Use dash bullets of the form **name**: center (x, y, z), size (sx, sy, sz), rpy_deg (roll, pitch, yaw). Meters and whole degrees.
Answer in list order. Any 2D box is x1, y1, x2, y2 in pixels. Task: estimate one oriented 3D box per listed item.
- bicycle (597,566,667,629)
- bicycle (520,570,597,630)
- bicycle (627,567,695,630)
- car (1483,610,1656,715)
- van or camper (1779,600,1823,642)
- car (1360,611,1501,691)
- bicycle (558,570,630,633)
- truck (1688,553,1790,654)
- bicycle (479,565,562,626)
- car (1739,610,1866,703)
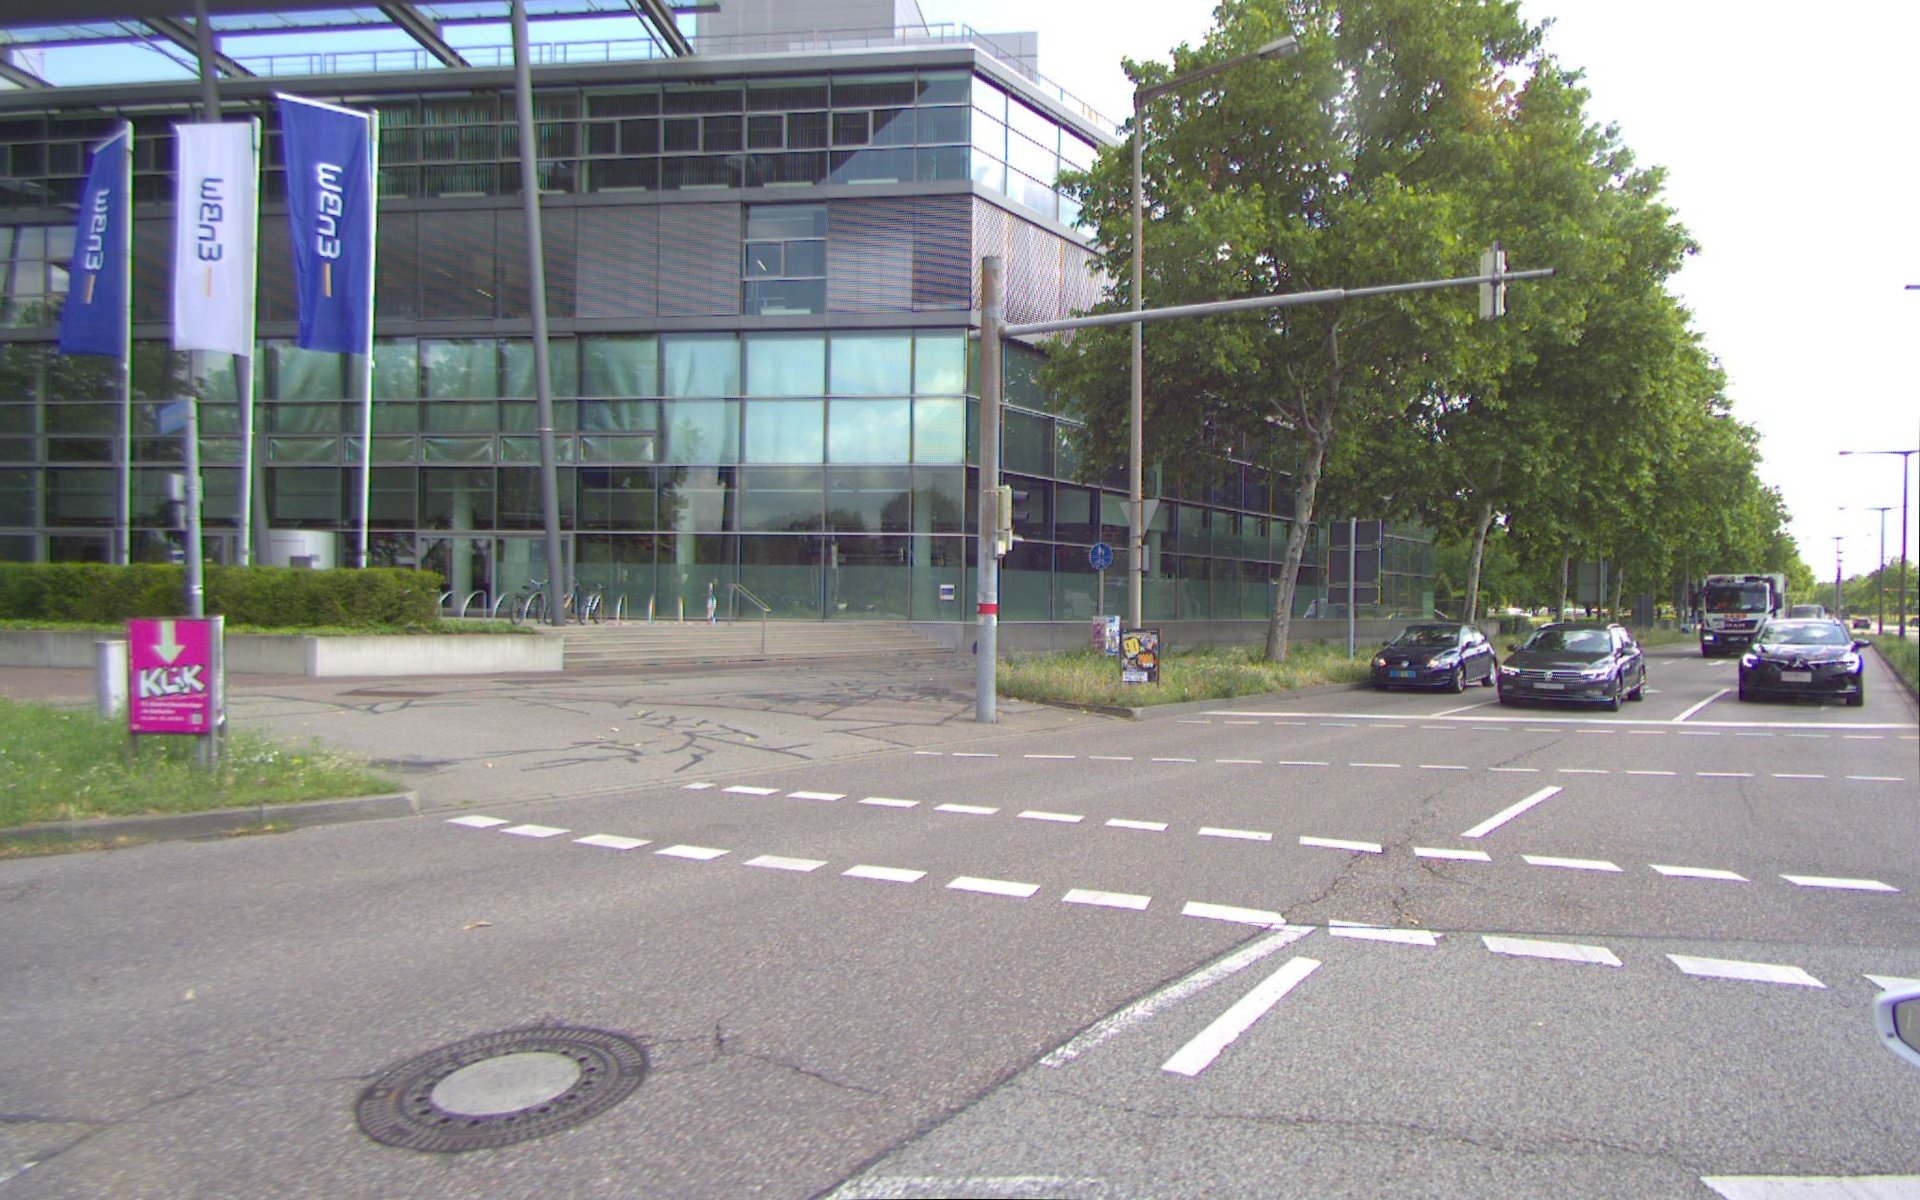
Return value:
- **bicycle**: center (-8.416, -0.038, 25.893), size (0.677, 1.459, 2.182), rpy_deg (1, -4, 11)
- **bicycle**: center (-10.317, 0.027, 25.924), size (0.727, 1.402, 2.142), rpy_deg (1, -4, 12)
- **bicycle**: center (-7.675, -0.004, 25.899), size (0.677, 1.459, 2.182), rpy_deg (1, -4, 11)
- **car**: center (11.358, 1.034, 18.584), size (1.845, 1.595, 4.541), rpy_deg (1, 1, 43)
- **van or camper**: center (56.905, 1.431, 68.065), size (2.080, 2.694, 6.687), rpy_deg (-4, -3, 39)
- **car**: center (10.381, 1.111, 22.041), size (1.710, 1.592, 3.979), rpy_deg (-2, -4, 42)
- **bicycle**: center (-9.454, 0.069, 26.037), size (0.677, 1.459, 2.182), rpy_deg (1, -4, 11)
- **truck**: center (34.227, 0.230, 43.939), size (2.621, 3.939, 10.102), rpy_deg (-2, -2, 43)
- **bicycle**: center (-11.227, -0.091, 25.735), size (0.727, 1.402, 2.142), rpy_deg (1, -4, 14)
- **car**: center (16.522, 1.025, 19.627), size (1.689, 1.608, 4.337), rpy_deg (-2, -2, 43)
